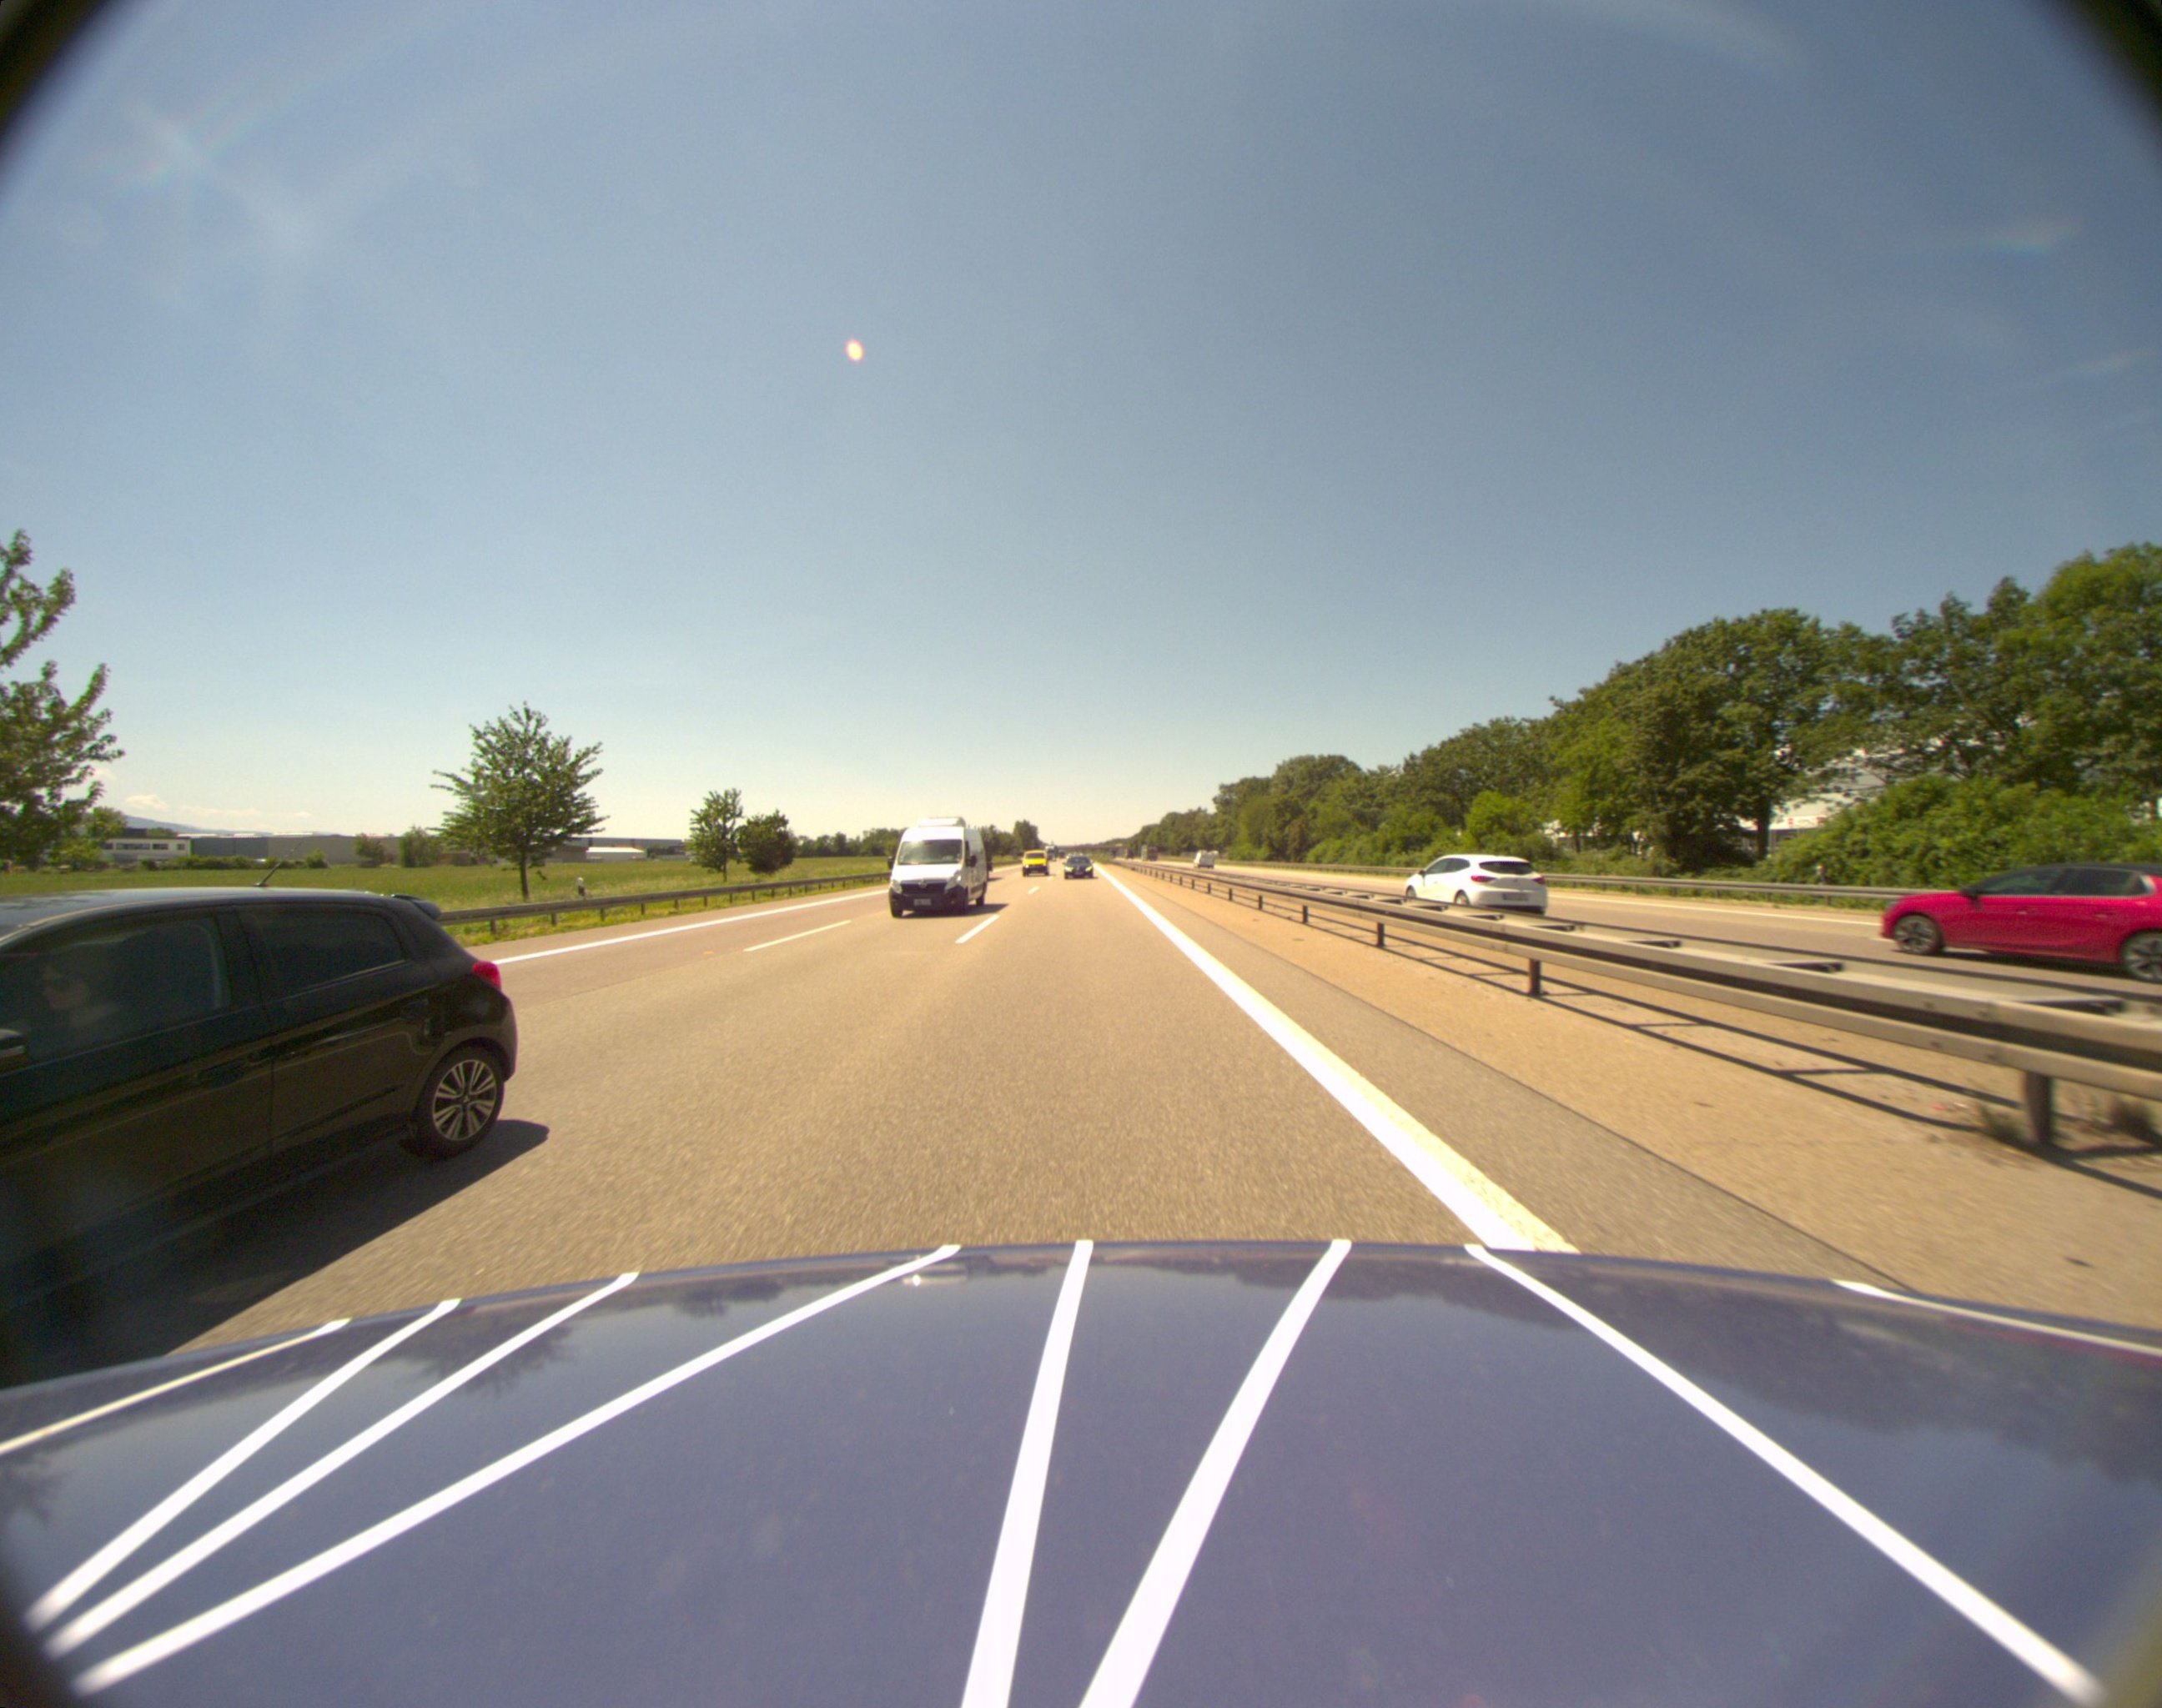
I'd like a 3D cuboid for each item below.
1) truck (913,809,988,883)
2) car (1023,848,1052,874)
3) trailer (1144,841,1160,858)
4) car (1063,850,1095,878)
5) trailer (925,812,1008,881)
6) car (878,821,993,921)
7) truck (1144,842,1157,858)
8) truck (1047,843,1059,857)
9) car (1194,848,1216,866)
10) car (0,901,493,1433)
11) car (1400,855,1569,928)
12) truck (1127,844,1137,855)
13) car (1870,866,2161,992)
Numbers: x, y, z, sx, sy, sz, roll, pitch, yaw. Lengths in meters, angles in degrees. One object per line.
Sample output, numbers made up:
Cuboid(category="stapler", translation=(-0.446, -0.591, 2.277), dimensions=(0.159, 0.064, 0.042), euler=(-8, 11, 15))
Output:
Cuboid(category="truck", translation=(-7.648, -0.455, 45.578), dimensions=(2.699, 3.943, 7.704), euler=(-2, 0, 3))
Cuboid(category="car", translation=(-3.296, 0.507, 58.726), dimensions=(1.958, 1.939, 3.999), euler=(-2, 1, 0))
Cuboid(category="trailer", translation=(17.684, -1.093, 189.080), dimensions=(2.884, 4.020, 13.680), euler=(2, 1, 1))
Cuboid(category="car", translation=(-0.088, 0.604, 48.830), dimensions=(1.689, 1.646, 3.463), euler=(-2, 1, 5))
Cuboid(category="trailer", translation=(-7.361, -0.484, 51.490), dimensions=(2.699, 3.943, 13.963), euler=(-2, 0, 3))
Cuboid(category="car", translation=(-4.080, 0.426, 22.533), dimensions=(2.159, 2.494, 5.945), euler=(-2, 1, 0))
Cuboid(category="truck", translation=(17.806, -1.146, 195.785), dimensions=(2.884, 4.020, 6.332), euler=(2, 1, 1))
Cuboid(category="truck", translation=(-7.258, -1.016, 200.323), dimensions=(2.976, 3.626, 7.148), euler=(-2, 1, -2))
Cuboid(category="car", translation=(13.917, 0.309, 85.354), dimensions=(1.793, 2.002, 4.379), euler=(2, 1, 1))
Cuboid(category="car", translation=(-4.124, 1.039, 2.488), dimensions=(1.692, 1.465, 3.432), euler=(-2, 1, -1))
Cuboid(category="car", translation=(9.004, 0.761, 17.366), dimensions=(1.723, 1.414, 3.896), euler=(1, 1, -1))
Cuboid(category="truck", translation=(17.827, -1.500, 265.511), dimensions=(3.012, 3.769, 9.600), euler=(-1, 1, 0))
Cuboid(category="car", translation=(13.331, 0.911, 9.896), dimensions=(1.777, 1.409, 4.110), euler=(1, 0, -1))
